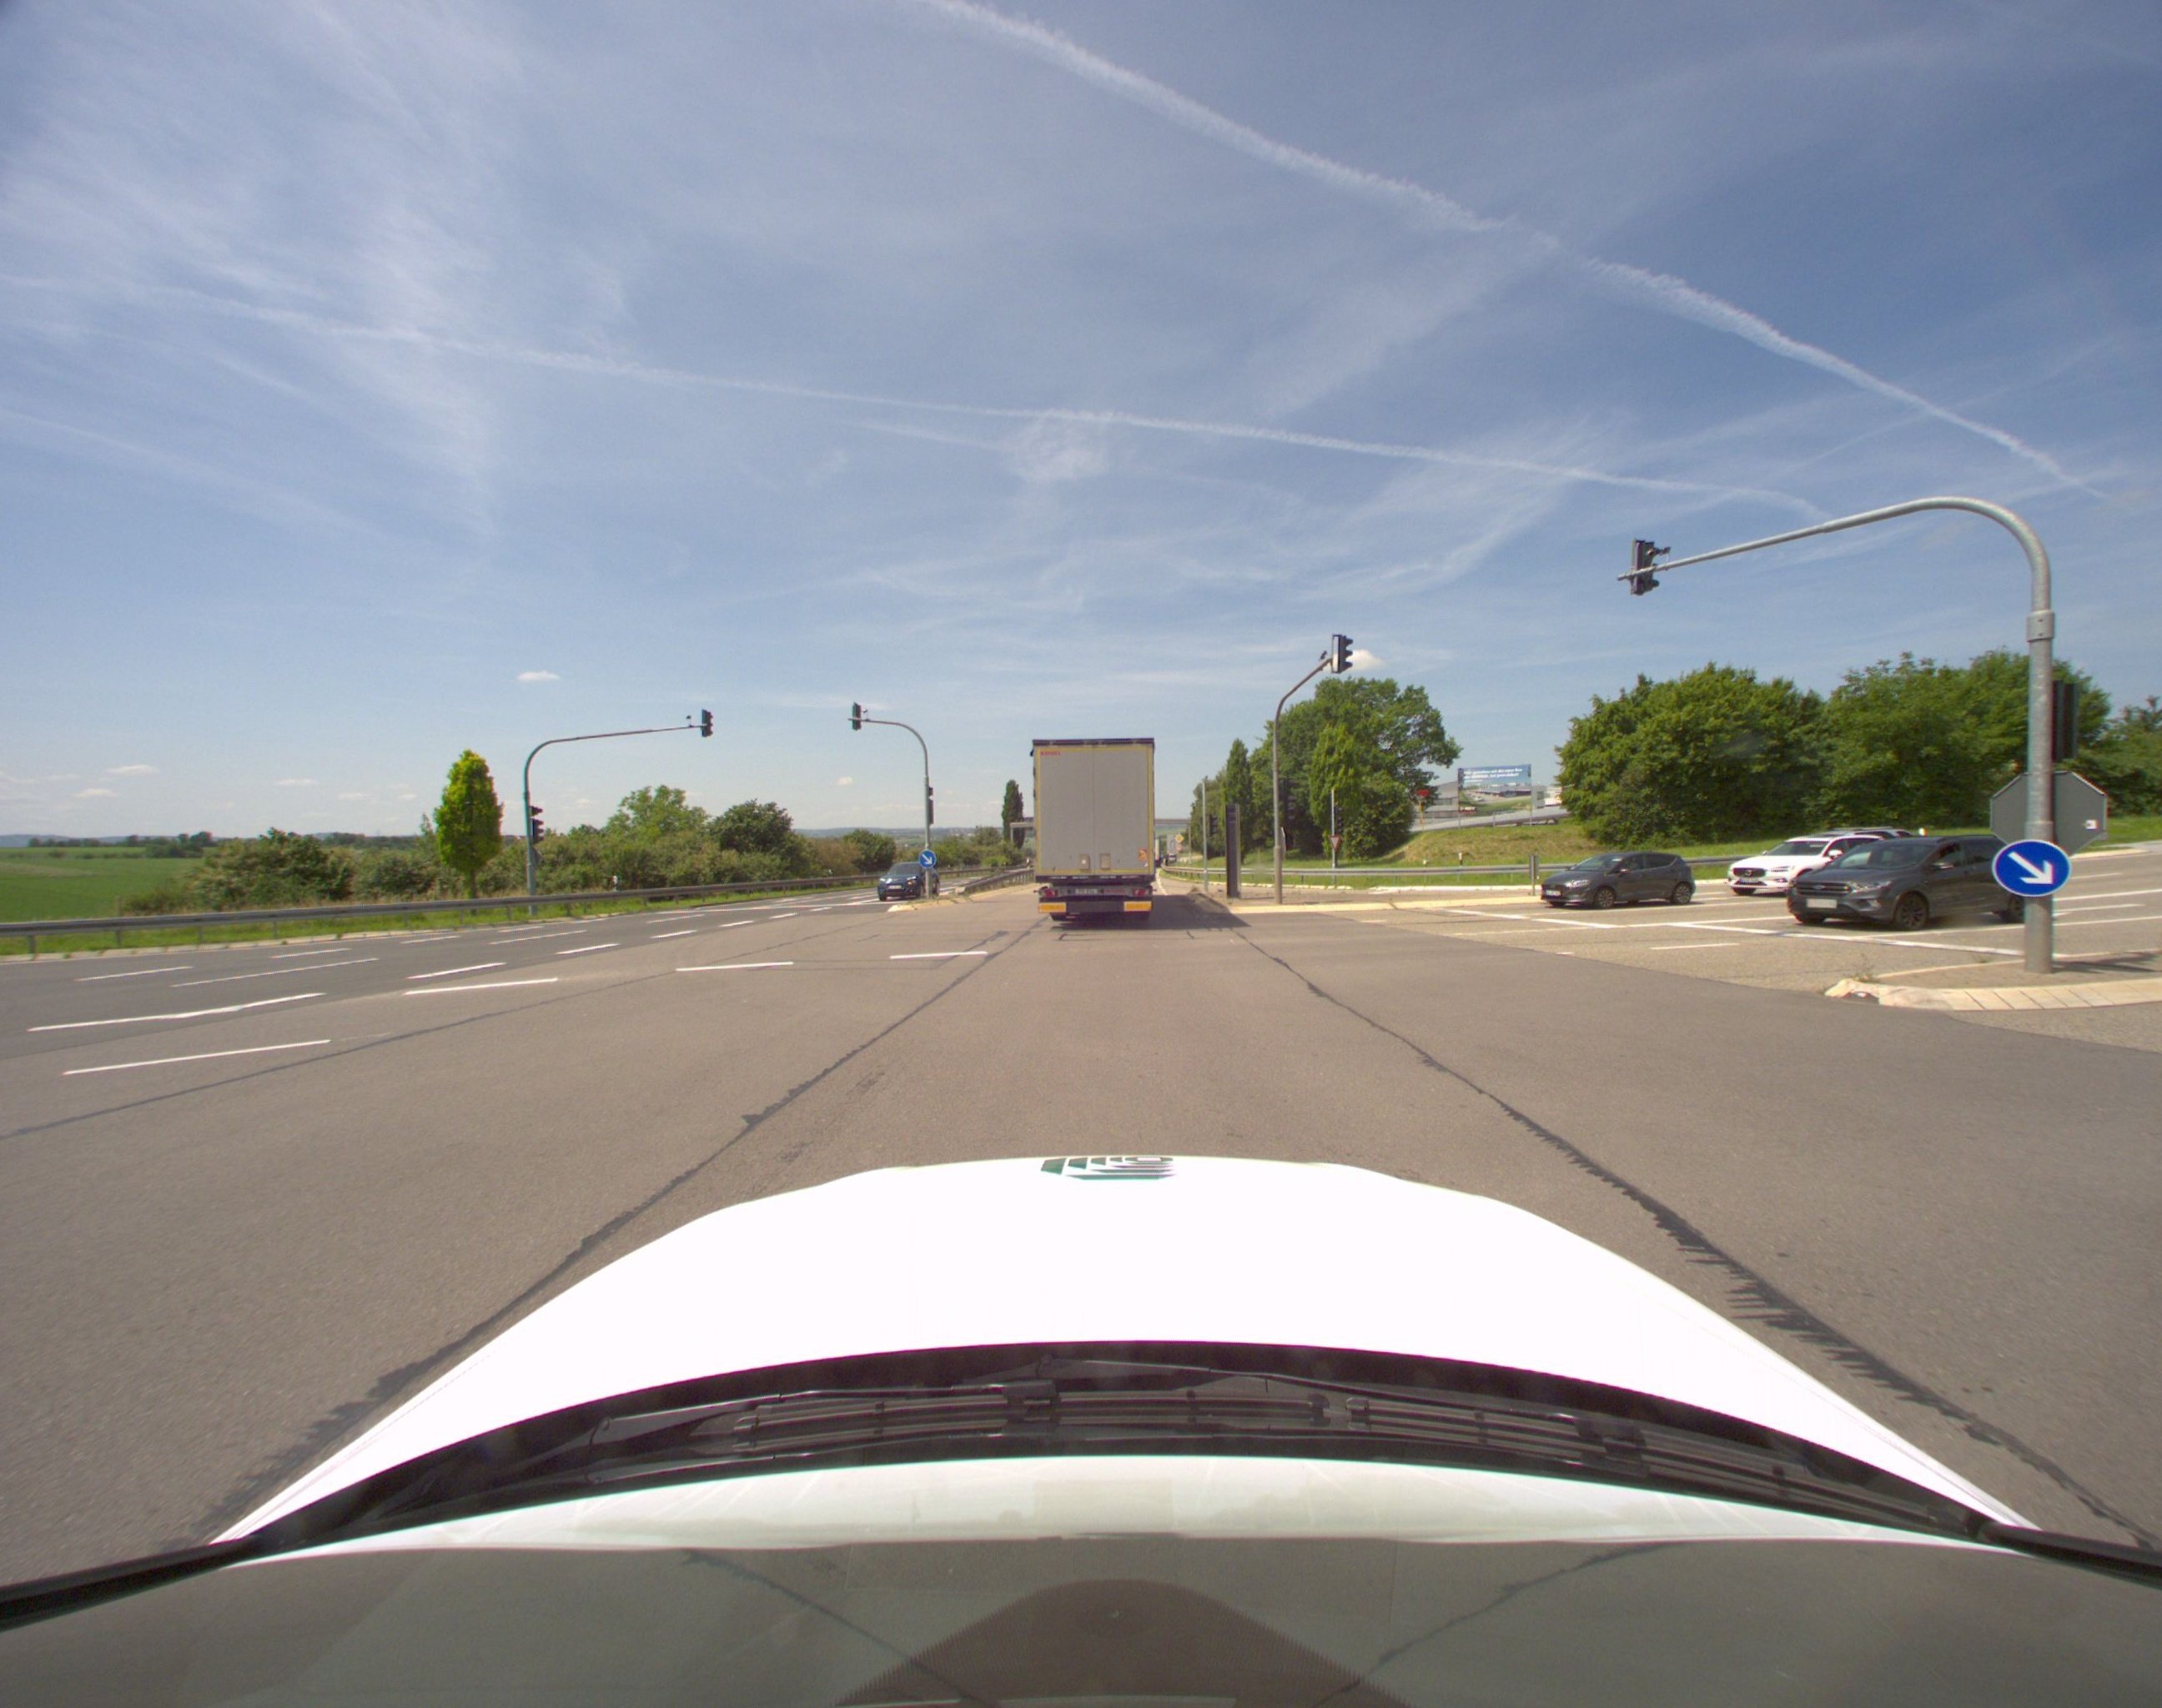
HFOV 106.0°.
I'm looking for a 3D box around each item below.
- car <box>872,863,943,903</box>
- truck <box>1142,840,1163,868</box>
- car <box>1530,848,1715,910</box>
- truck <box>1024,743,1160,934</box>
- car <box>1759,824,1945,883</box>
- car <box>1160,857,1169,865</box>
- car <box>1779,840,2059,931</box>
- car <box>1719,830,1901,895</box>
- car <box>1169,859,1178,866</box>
[{"bbox_3d":[-7.018,1.126,33.413,1.748,1.469,4.199,-2,0,3],"label":"car"},{"bbox_3d":[10.115,0.077,114.007,2.642,3.765,10.179,0,-1,6],"label":"truck"},{"bbox_3d":[14.417,0.651,21.773,3.984,1.511,1.711,-1,-1,-8],"label":"car"},{"bbox_3d":[0.216,-0.303,22.487,2.790,3.929,11.338,0,0,0],"label":"truck"},{"bbox_3d":[25.408,-0.001,26.955,4.342,1.655,1.837,-3,-1,1],"label":"car"},{"bbox_3d":[16.666,1.377,162.936,1.777,1.688,4.006,0,-1,6],"label":"car"},{"bbox_3d":[15.969,0.557,15.581,4.362,1.510,1.709,-1,-1,-13],"label":"car"},{"bbox_3d":[21.027,0.234,23.517,4.365,1.592,1.771,-3,-1,-15],"label":"car"},{"bbox_3d":[20.619,1.908,181.636,1.777,1.688,4.006,0,-1,6],"label":"car"}]
